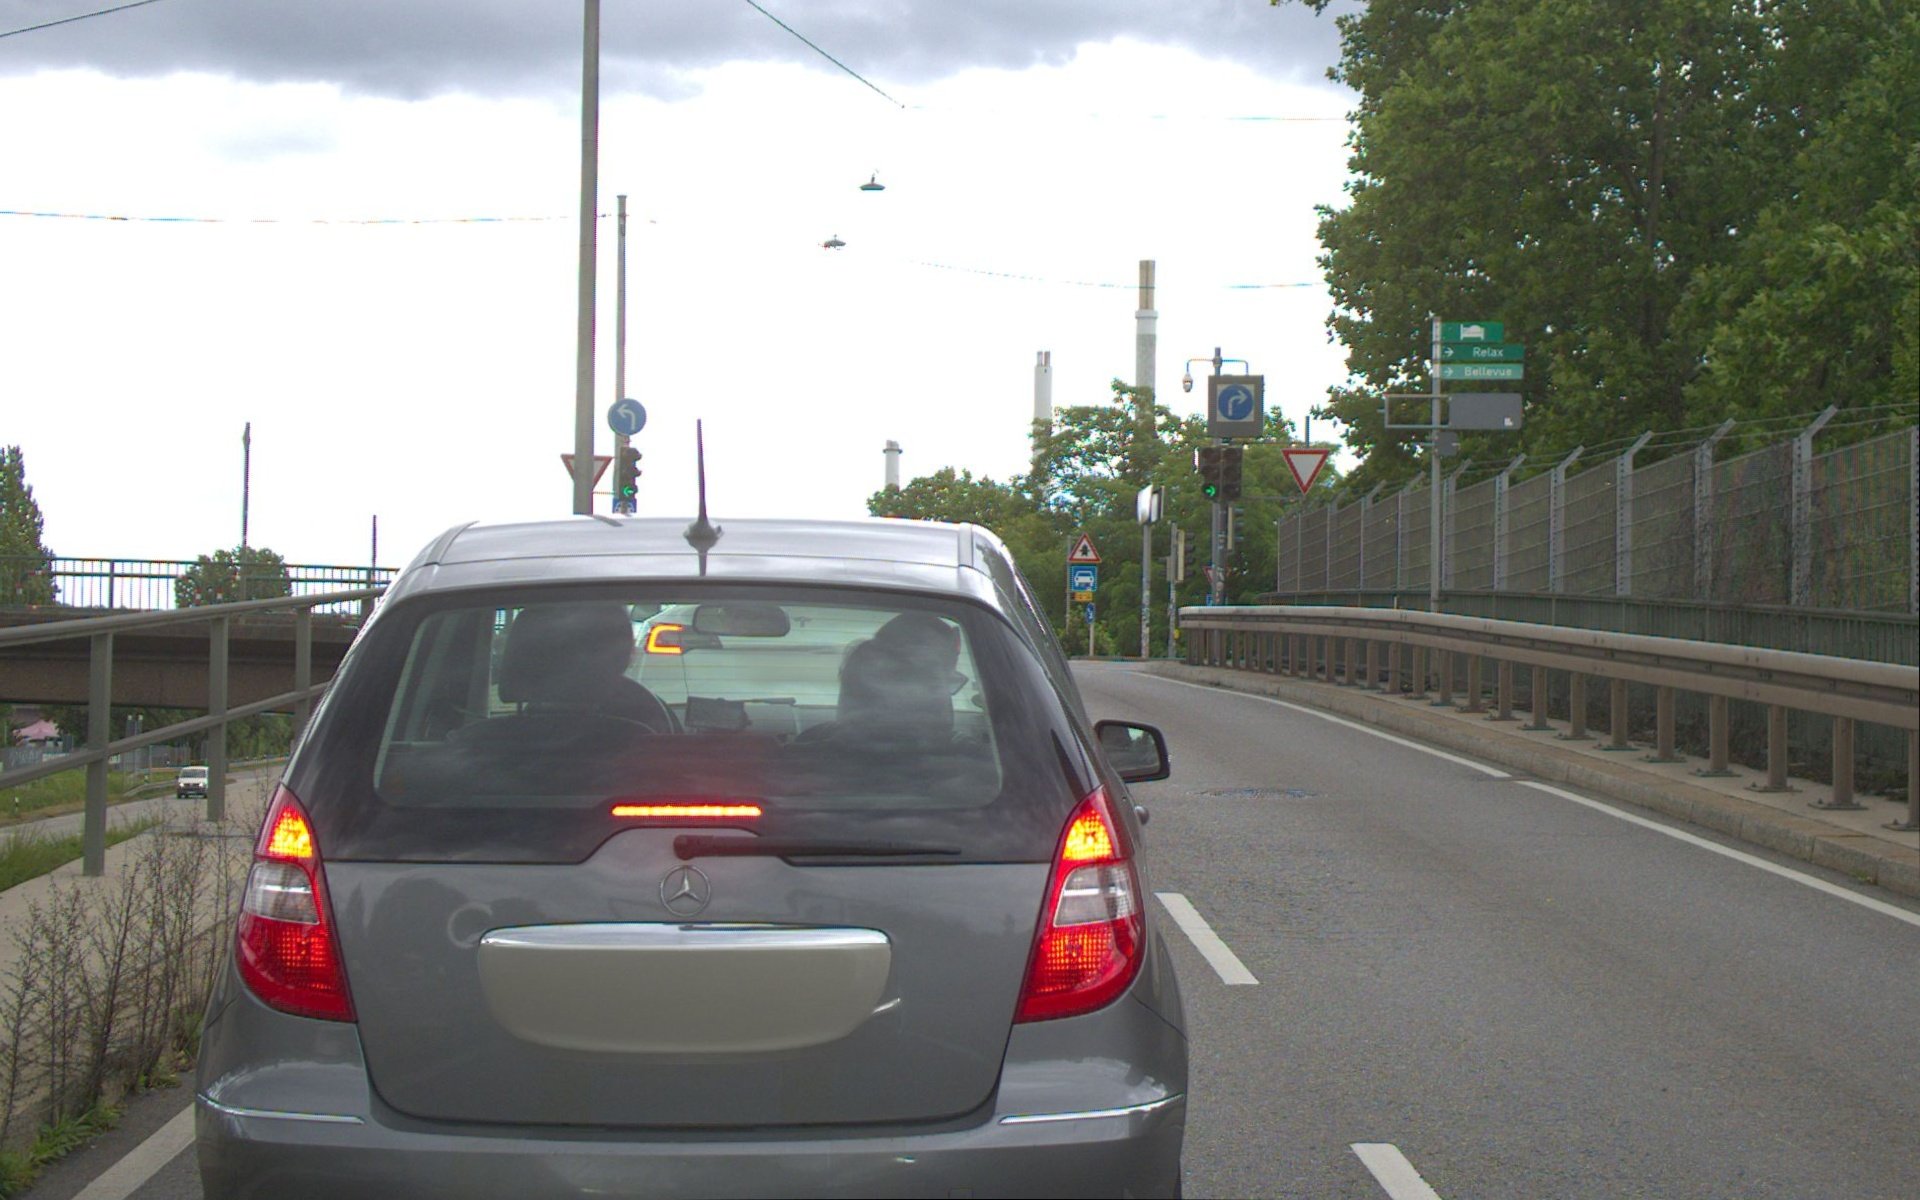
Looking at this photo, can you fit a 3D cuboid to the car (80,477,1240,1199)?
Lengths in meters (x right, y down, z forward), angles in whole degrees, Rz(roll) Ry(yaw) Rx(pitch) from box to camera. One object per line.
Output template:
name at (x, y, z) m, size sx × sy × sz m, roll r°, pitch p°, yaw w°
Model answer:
car at (-0.510, 0.576, 7.558) m, size 1.857 × 1.583 × 4.000 m, roll 1°, pitch 1°, yaw -1°

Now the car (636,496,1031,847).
car at (-0.679, 0.332, 19.239) m, size 1.931 × 1.711 × 4.406 m, roll 1°, pitch 1°, yaw -1°

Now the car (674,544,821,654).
car at (-3.824, -0.038, 61.224) m, size 1.993 × 1.864 × 4.215 m, roll 1°, pitch 1°, yaw -12°

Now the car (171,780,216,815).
car at (-48.360, 12.458, 216.907) m, size 1.993 × 2.060 × 5.177 m, roll 1°, pitch -2°, yaw -4°

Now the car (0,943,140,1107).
car at (-11.346, 5.148, 42.030) m, size 1.898 × 1.616 × 4.179 m, roll 1°, pitch -2°, yaw -4°

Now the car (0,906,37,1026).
car at (-15.147, 5.487, 51.239) m, size 1.898 × 1.616 × 4.179 m, roll 1°, pitch -2°, yaw -4°
